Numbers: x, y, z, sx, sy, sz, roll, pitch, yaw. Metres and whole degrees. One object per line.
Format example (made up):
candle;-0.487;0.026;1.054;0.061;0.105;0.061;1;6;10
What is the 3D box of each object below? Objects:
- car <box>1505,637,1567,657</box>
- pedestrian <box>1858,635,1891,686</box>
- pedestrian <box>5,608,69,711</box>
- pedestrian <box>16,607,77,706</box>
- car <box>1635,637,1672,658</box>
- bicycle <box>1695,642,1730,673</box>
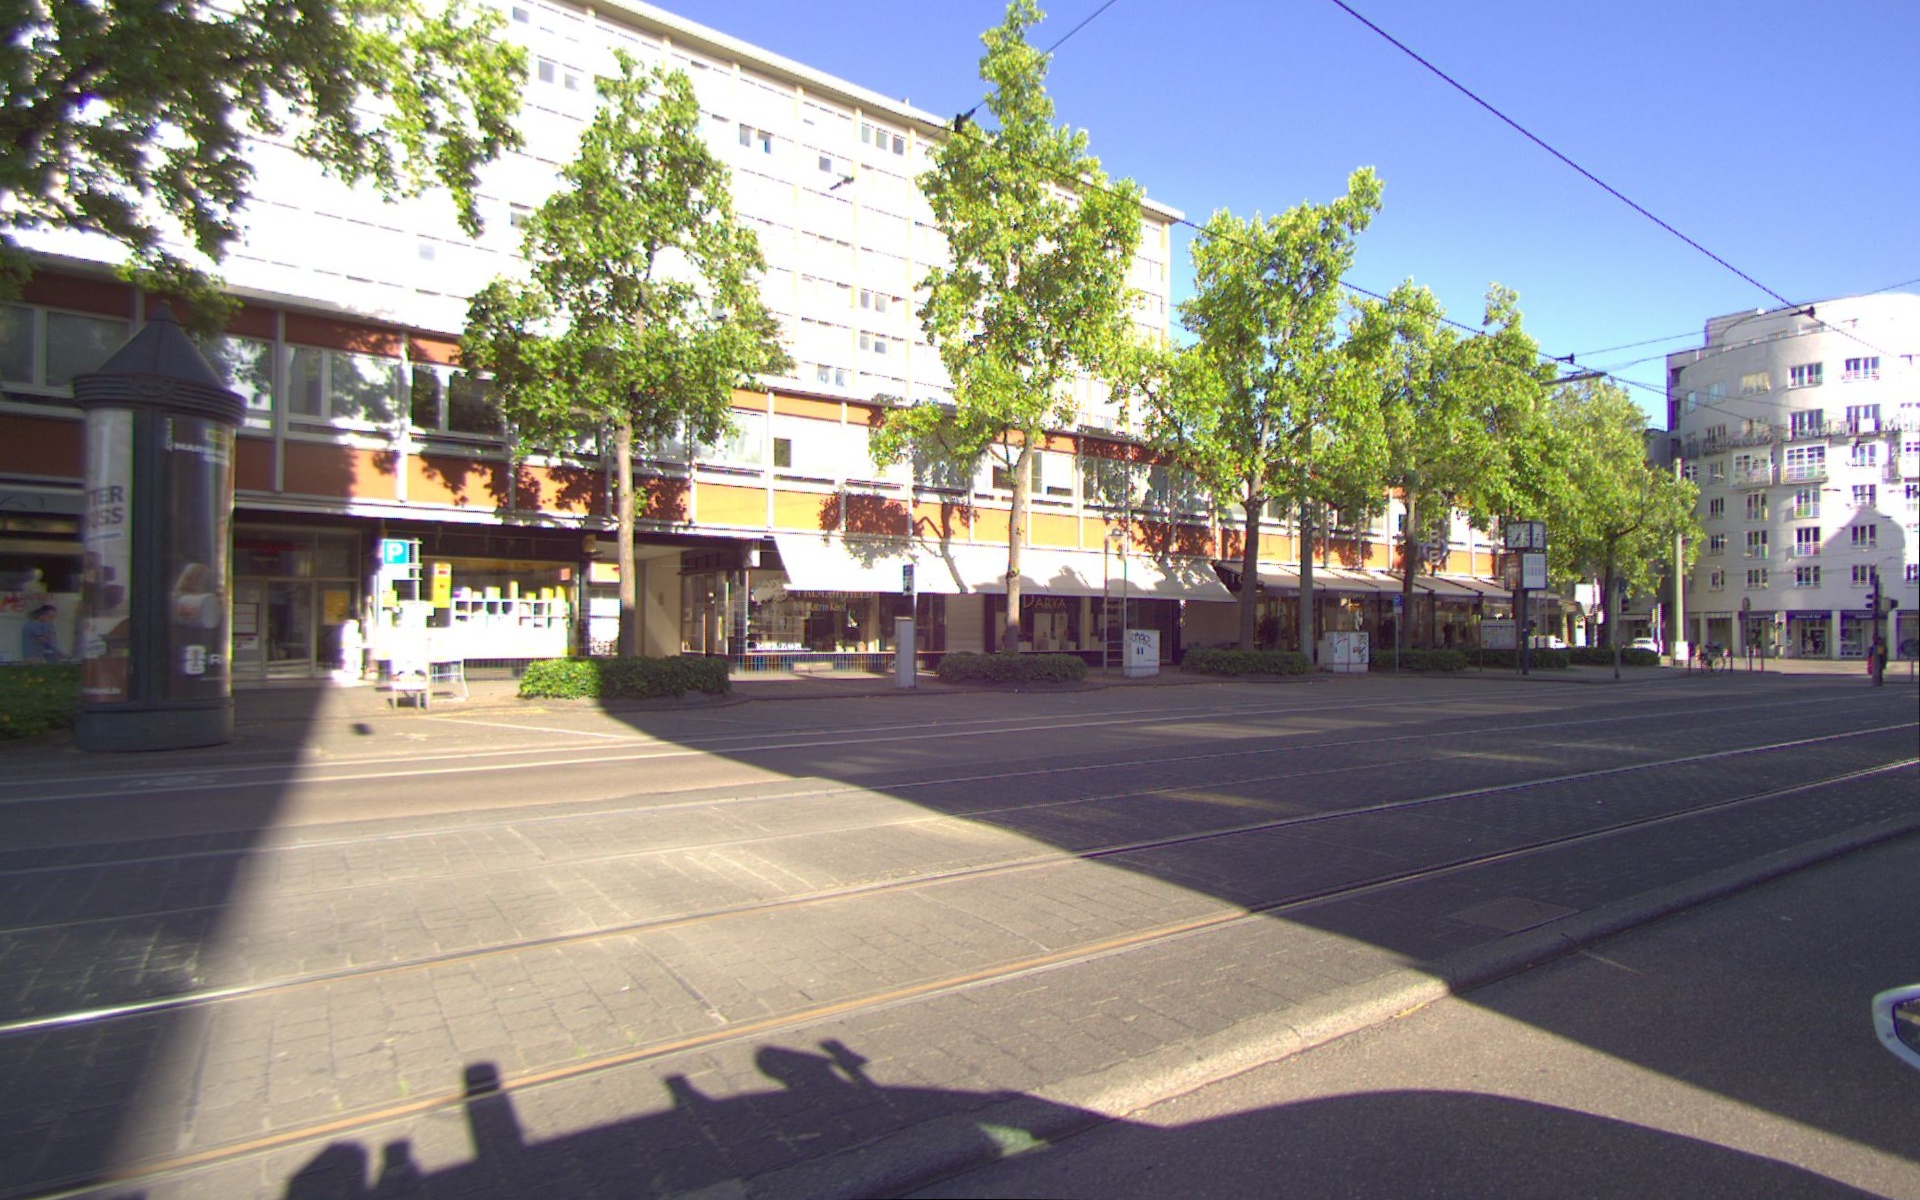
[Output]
car;46.240;3.743;80.683;1.782;1.421;3.977;-1;0;-29
pedestrian;27.910;1.832;30.663;0.850;1.537;0.497;1;-3;-34
pedestrian;-16.461;1.046;17.929;0.699;1.795;0.569;1;-2;-33
pedestrian;-16.771;1.032;18.457;0.699;1.773;0.569;1;-2;-33
car;52.798;3.620;76.417;1.778;1.421;4.079;-1;0;42
bicycle;30.282;2.312;40.421;2.213;1.202;0.494;1;-2;-36
